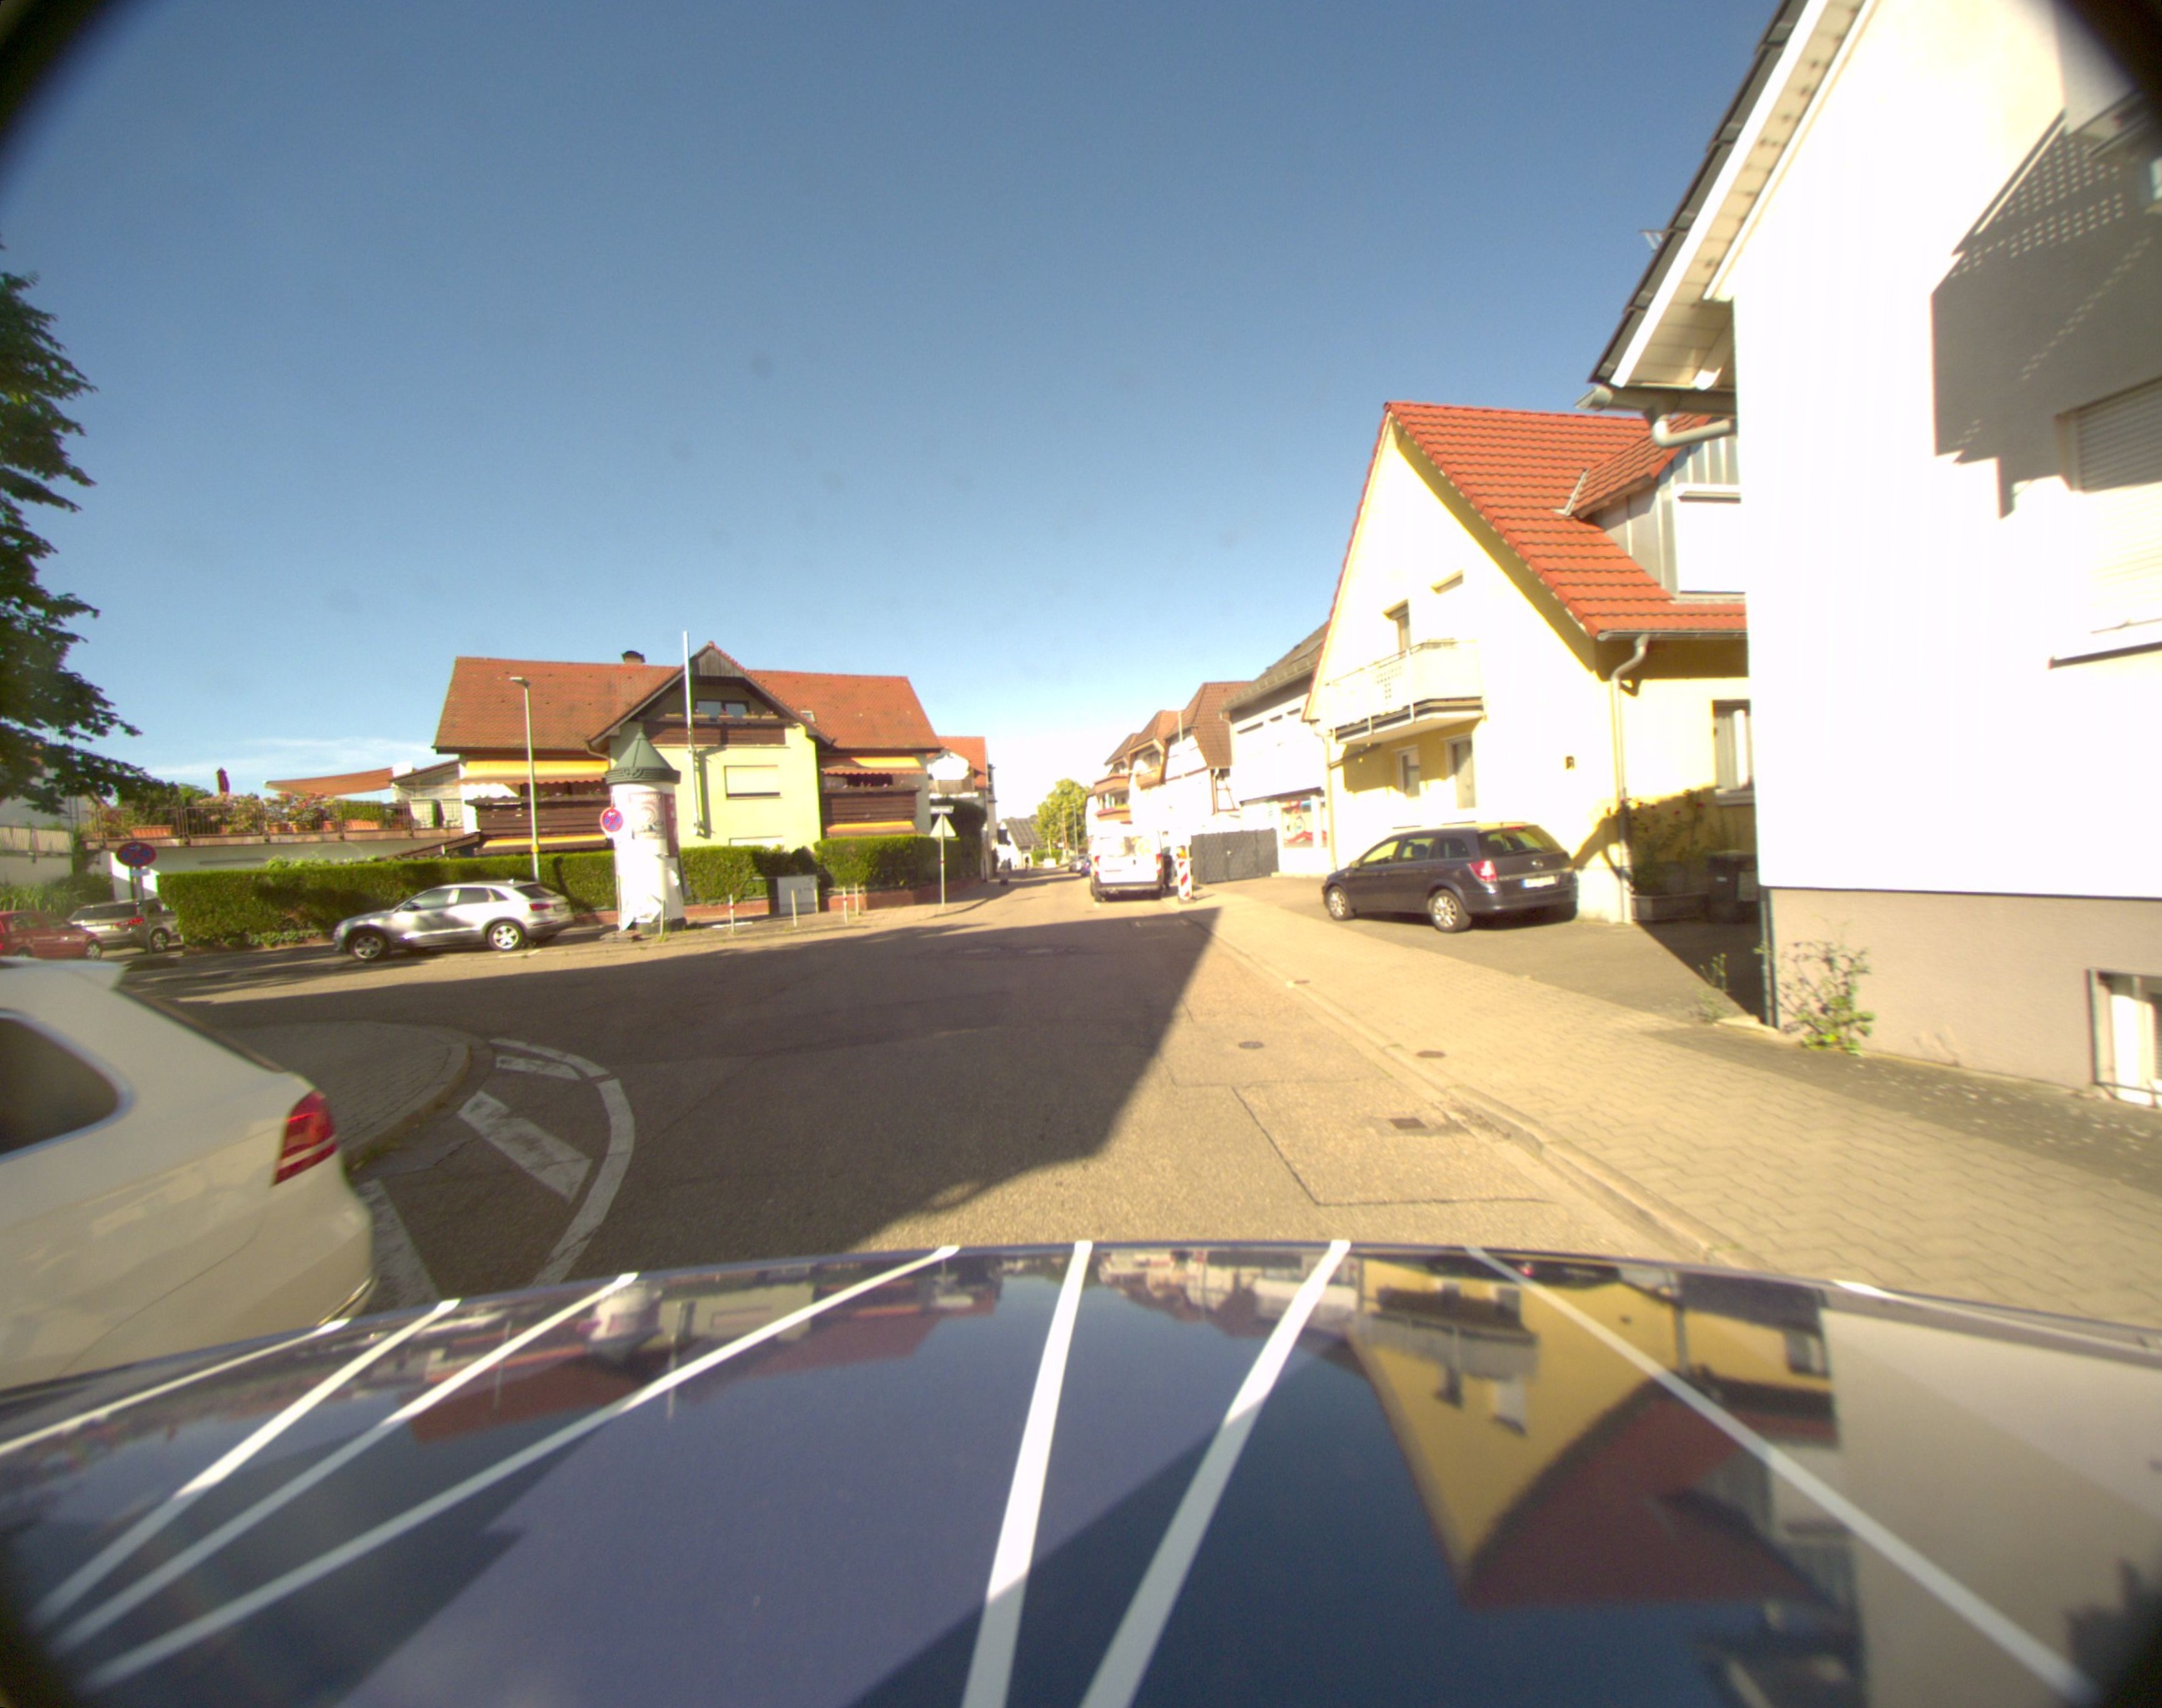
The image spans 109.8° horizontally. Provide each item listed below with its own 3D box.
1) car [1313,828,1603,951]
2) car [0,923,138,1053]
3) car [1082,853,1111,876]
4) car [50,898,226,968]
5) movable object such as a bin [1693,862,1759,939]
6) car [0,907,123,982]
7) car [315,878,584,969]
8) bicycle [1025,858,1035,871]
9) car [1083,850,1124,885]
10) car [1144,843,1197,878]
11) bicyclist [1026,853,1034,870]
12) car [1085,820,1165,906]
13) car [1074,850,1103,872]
[{"bbox_3d":[5.559,0.469,11.897,1.694,1.437,4.171,-5,1,-14],"label":"car"},{"bbox_3d":[-15.623,1.845,9.738,4.304,1.485,1.813,-3,0,-8],"label":"car"},{"bbox_3d":[1.014,0.704,52.502,1.623,1.431,3.954,-3,0,-4],"label":"car"},{"bbox_3d":[-27.871,2.252,22.641,1.700,1.561,3.716,-4,2,-24],"label":"car"},{"bbox_3d":[8.127,0.570,9.578,0.379,0.924,0.493,-2,1,-9],"label":"movable object such as a bin"},{"bbox_3d":[-26.363,2.240,18.806,1.700,1.491,3.716,-4,2,-24],"label":"car"},{"bbox_3d":[-14.234,1.519,17.417,4.305,1.584,1.812,-3,2,-12],"label":"car"},{"bbox_3d":[-4.757,0.983,71.200,0.639,1.175,2.021,-3,0,1],"label":"bicycle"},{"bbox_3d":[1.100,0.636,38.981,1.727,1.609,4.110,-3,0,-3],"label":"car"},{"bbox_3d":[4.512,0.306,38.903,1.647,1.578,4.109,-4,0,-7],"label":"car"},{"bbox_3d":[-4.770,0.701,71.212,0.643,1.655,0.605,-2,1,1],"label":"bicyclist"},{"bbox_3d":[1.336,0.241,25.528,2.258,2.456,5.515,-3,0,0],"label":"car"},{"bbox_3d":[0.568,0.528,60.578,1.764,1.547,3.998,-3,0,-6],"label":"car"}]
